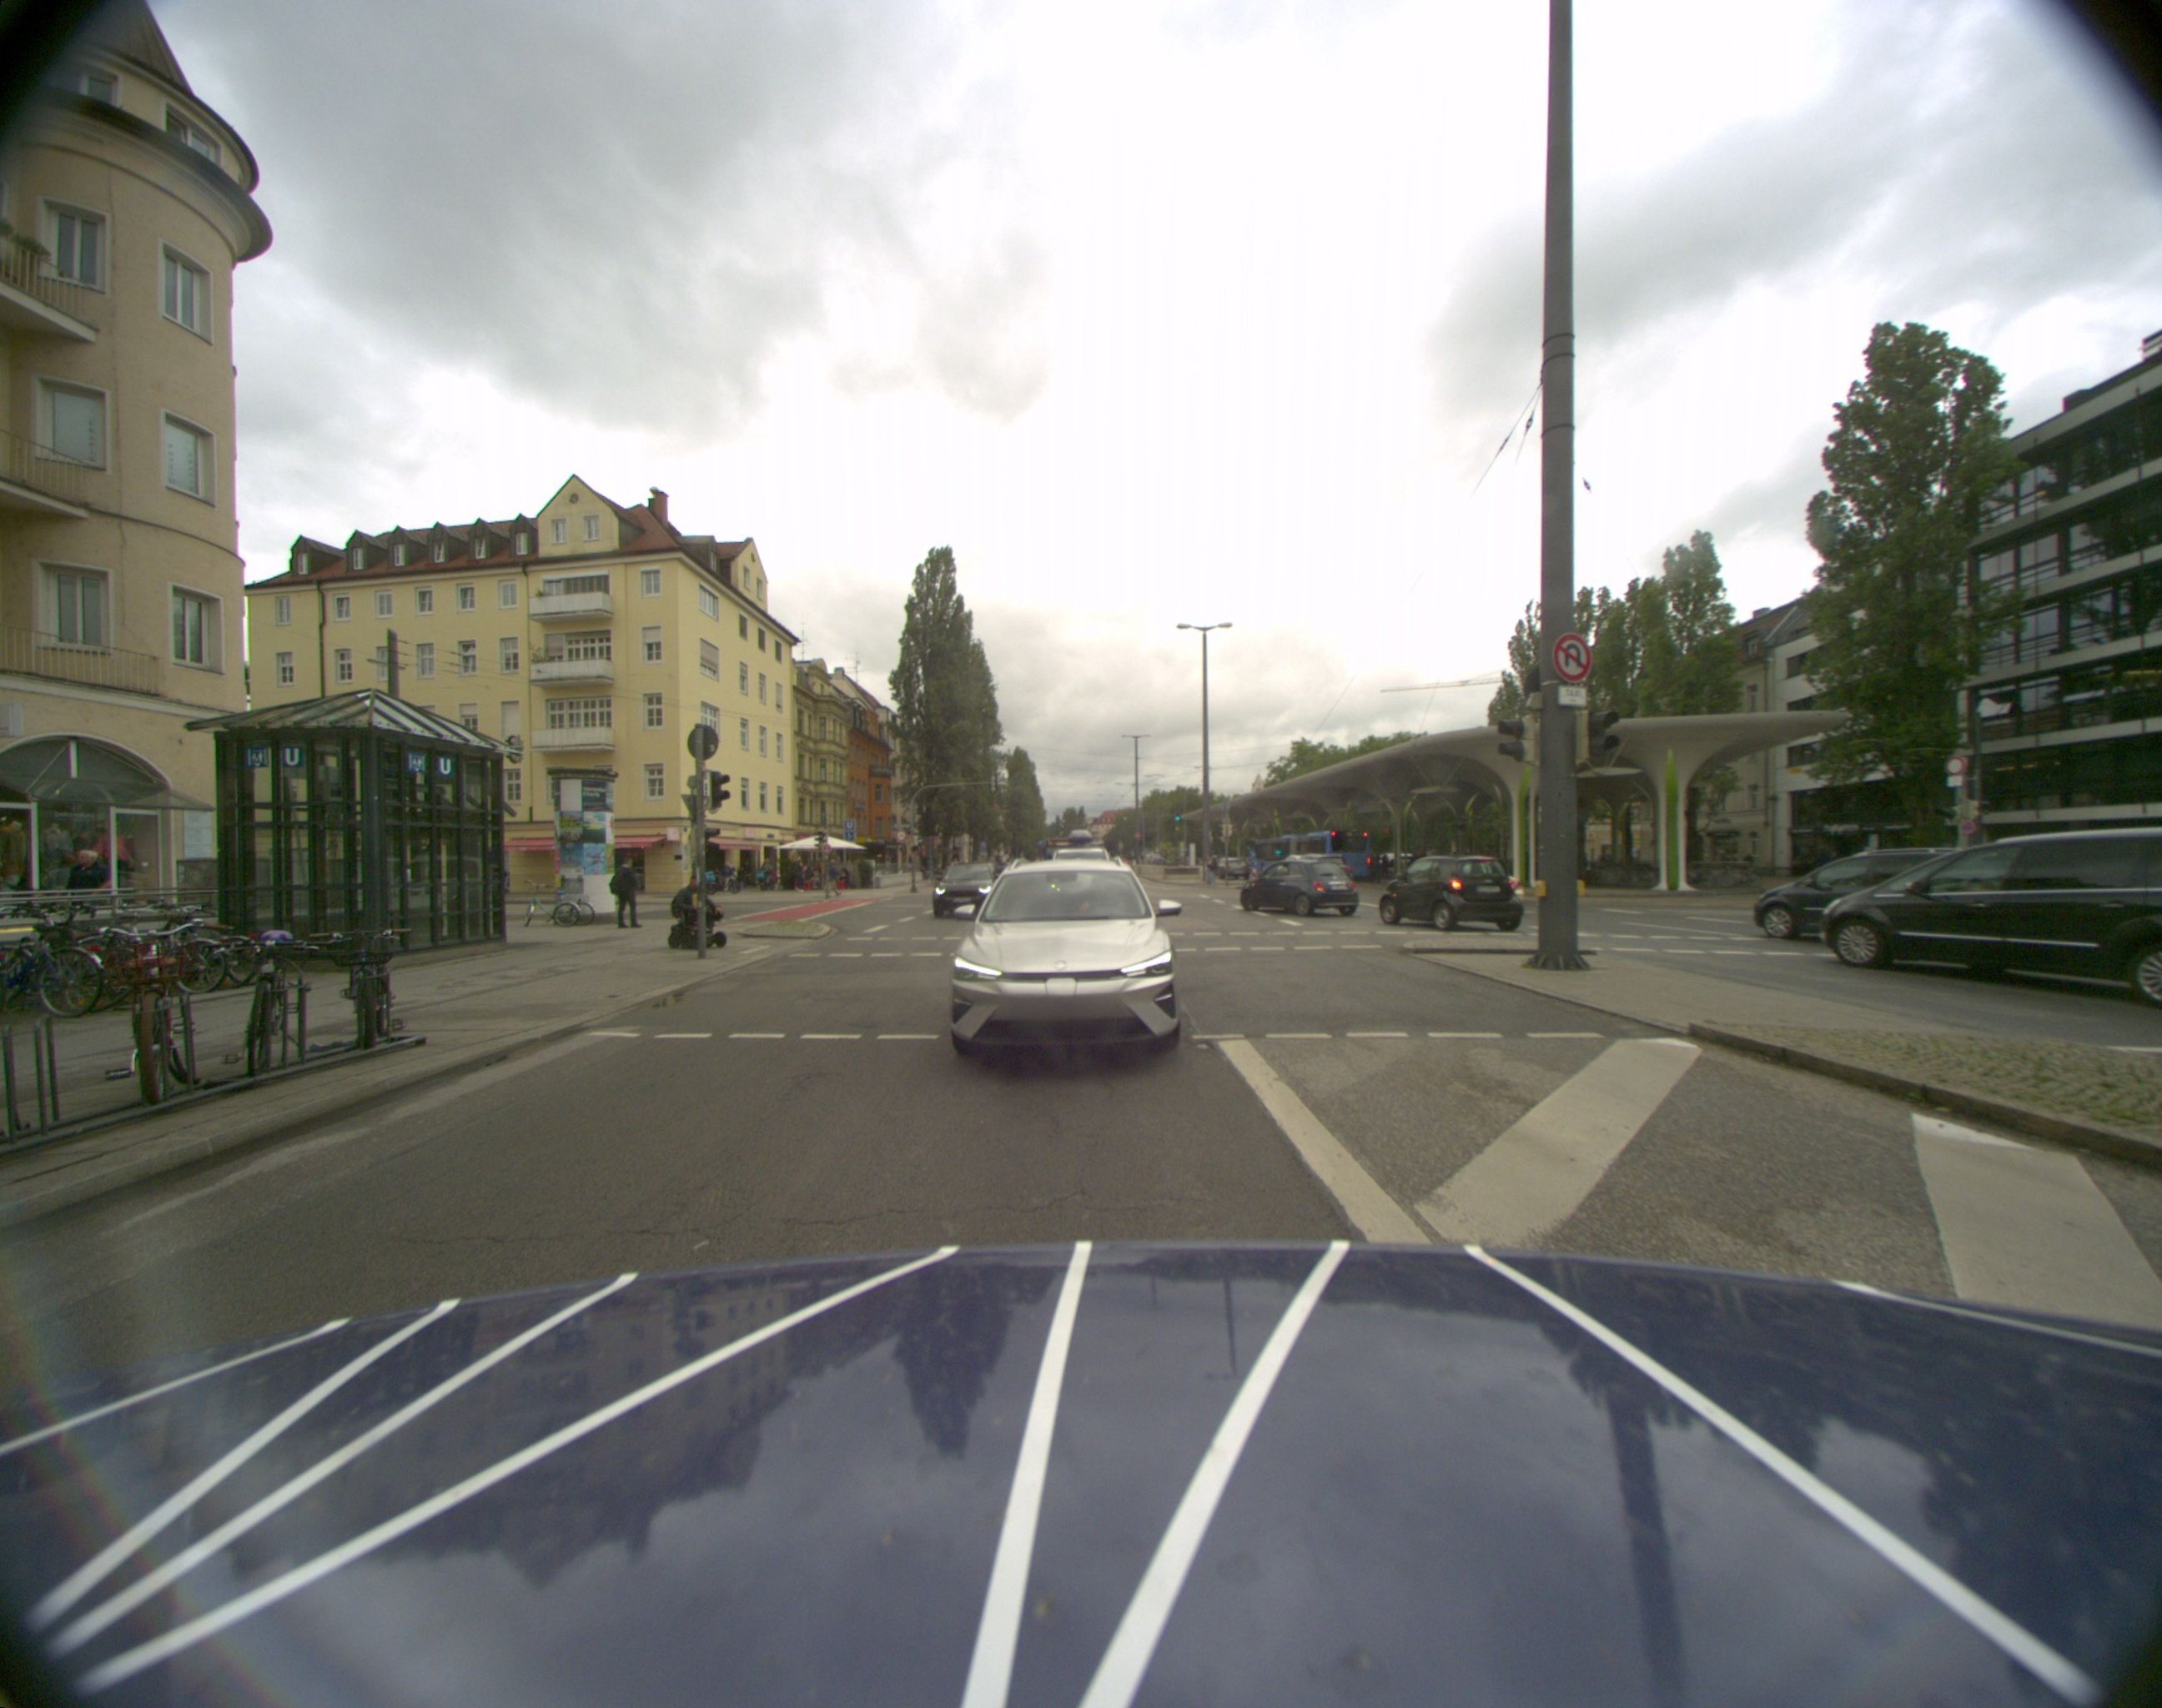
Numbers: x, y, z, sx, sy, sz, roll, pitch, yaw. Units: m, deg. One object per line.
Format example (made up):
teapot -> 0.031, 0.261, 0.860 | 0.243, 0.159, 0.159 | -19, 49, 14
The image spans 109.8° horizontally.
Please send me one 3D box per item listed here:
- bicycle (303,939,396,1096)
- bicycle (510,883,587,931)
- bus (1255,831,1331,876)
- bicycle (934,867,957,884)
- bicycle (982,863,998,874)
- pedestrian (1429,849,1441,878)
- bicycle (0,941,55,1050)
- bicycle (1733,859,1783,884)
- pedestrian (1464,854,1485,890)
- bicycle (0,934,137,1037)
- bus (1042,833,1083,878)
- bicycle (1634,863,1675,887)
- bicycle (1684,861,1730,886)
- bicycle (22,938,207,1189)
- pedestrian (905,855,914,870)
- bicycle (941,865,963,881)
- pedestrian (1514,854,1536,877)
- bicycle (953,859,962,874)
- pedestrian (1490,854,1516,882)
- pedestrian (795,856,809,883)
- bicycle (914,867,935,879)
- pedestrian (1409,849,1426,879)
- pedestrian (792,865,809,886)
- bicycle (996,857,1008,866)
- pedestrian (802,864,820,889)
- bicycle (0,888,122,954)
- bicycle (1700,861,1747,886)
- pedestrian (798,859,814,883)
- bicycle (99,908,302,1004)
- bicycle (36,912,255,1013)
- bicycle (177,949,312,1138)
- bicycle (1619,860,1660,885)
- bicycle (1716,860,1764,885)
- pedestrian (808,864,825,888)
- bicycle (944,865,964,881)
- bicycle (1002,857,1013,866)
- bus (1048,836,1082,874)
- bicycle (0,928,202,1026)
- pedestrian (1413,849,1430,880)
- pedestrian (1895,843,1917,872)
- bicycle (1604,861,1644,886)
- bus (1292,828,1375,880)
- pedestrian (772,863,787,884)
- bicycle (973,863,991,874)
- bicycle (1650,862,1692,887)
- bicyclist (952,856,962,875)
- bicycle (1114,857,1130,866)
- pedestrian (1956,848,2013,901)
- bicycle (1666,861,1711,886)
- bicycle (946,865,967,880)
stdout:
bicycle -> -6.148, 1.304, 6.432 | 0.500, 1.022, 1.597 | -1, 0, -42
bicycle -> -13.344, 1.320, 19.049 | 1.572, 1.153, 0.525 | 0, -1, 3
bus -> 15.696, -0.033, 57.116 | 2.667, 2.990, 10.514 | 1, 0, 0
bicycle -> -8.323, 1.302, 46.573 | 1.836, 0.990, 0.349 | 0, 1, 44
bicycle -> -8.686, 1.362, 72.324 | 1.837, 0.990, 0.376 | -3, -1, 42
pedestrian -> 19.306, 0.513, 41.421 | 0.519, 1.579, 0.481 | -1, 0, 31
bicycle -> -10.861, 1.326, 7.080 | 1.843, 0.958, 0.509 | -1, 0, -2
bicycle -> 31.240, 0.805, 35.106 | 0.654, 1.111, 2.184 | -1, 0, 10
pedestrian -> 20.187, 0.930, 38.951 | 0.805, 1.806, 0.706 | -1, 1, 15
bicycle -> -10.845, 1.325, 7.707 | 1.843, 0.958, 0.509 | -1, 0, -2
bus -> -1.267, 0.104, 56.580 | 2.637, 2.956, 9.466 | -3, 0, 0
bicycle -> 27.126, 0.980, 35.979 | 0.654, 1.111, 2.184 | -1, 0, 10
bicycle -> 29.240, 0.908, 35.538 | 0.654, 1.111, 2.184 | -1, 0, 10
bicycle -> -6.153, 1.221, 4.916 | 1.800, 1.191, 0.560 | -1, 0, 43
pedestrian -> -18.848, 0.933, 83.547 | 0.748, 1.704, 1.017 | -1, 1, 0
bicycle -> -8.306, 1.231, 48.796 | 1.836, 0.990, 0.349 | 0, 1, 44
pedestrian -> 25.268, 0.647, 43.246 | 0.840, 1.310, 0.877 | -2, 1, -44
bicycle -> -10.691, 1.102, 65.763 | 0.424, 1.280, 1.778 | -1, 0, 1
pedestrian -> 21.620, 0.717, 38.941 | 1.023, 1.444, 0.855 | -1, 0, 16
pedestrian -> -17.044, 0.942, 46.441 | 0.616, 1.623, 0.677 | -1, 1, 0
bicycle -> -13.393, 1.626, 65.007 | 1.728, 1.039, 0.387 | -2, -1, -6
pedestrian -> 18.754, 0.555, 42.345 | 0.703, 1.701, 0.758 | 0, 1, 36
pedestrian -> -15.969, 1.214, 43.271 | 0.627, 1.196, 0.700 | -1, 1, 0
bicycle -> -10.042, 0.969, 96.594 | 1.740, 1.096, 0.360 | 0, 1, 35
pedestrian -> -15.070, 1.248, 42.377 | 0.679, 1.304, 0.796 | -1, 1, 0
bicycle -> -19.466, 1.236, 14.339 | 0.496, 1.083, 1.865 | -1, 0, -6
bicycle -> 29.898, 0.874, 35.402 | 0.654, 1.111, 2.184 | -1, 0, 10
pedestrian -> -16.533, 1.009, 45.704 | 0.677, 1.414, 0.616 | -1, 1, 0
bicycle -> -10.849, 1.244, 9.396 | 1.843, 1.088, 0.509 | -1, 0, -2
bicycle -> -10.826, 1.243, 8.829 | 1.843, 1.088, 0.509 | -1, 0, -2
bicycle -> -6.071, 1.299, 5.577 | 0.500, 1.022, 1.597 | -1, 0, -42
bicycle -> 26.421, 0.856, 35.969 | 0.642, 1.118, 2.167 | -1, 0, 9
bicycle -> 30.544, 0.841, 35.251 | 0.654, 1.111, 2.184 | -1, 0, 10
pedestrian -> -15.065, 1.247, 43.266 | 0.679, 1.304, 0.796 | -1, 1, 0
bicycle -> -8.430, 1.236, 50.303 | 0.349, 0.990, 1.837 | -1, 1, -44
bicycle -> -9.430, 0.923, 97.268 | 0.360, 1.096, 1.740 | -1, 1, -45
bus -> -1.283, 0.091, 65.593 | 2.637, 2.956, 8.533 | -3, 0, 0
bicycle -> -10.778, 1.321, 8.239 | 1.843, 0.958, 0.509 | -1, 0, -2
pedestrian -> 18.445, 0.579, 41.160 | 0.746, 1.665, 0.633 | 0, 1, 32
pedestrian -> 45.985, 0.178, 42.356 | 0.593, 1.583, 0.674 | -1, 1, 26
bicycle -> 25.780, 0.889, 36.097 | 0.642, 1.118, 2.167 | -1, 0, 9
bus -> 15.785, -0.026, 48.099 | 2.667, 2.990, 7.512 | 1, 0, 0
pedestrian -> -17.908, 1.165, 45.126 | 0.602, 1.215, 0.666 | -1, 1, 0
bicycle -> -9.116, 1.336, 69.846 | 1.837, 0.990, 0.376 | -2, -1, 37
bicycle -> 27.795, 0.946, 35.834 | 0.654, 1.111, 2.184 | -1, 0, 10
bicyclist -> -10.680, 0.995, 65.666 | 0.681, 1.594, 0.939 | -1, 1, 0
bicycle -> 5.382, 0.989, 100.380 | 2.235, 1.143, 0.505 | -1, 0, -32
pedestrian -> 28.595, 0.649, 24.068 | 0.857, 1.632, 0.790 | -1, 0, 4
bicycle -> 28.491, 0.910, 35.678 | 0.654, 1.111, 2.184 | -1, 0, 10
bicycle -> -8.319, 1.229, 50.871 | 1.836, 0.990, 0.349 | 0, 1, 43
